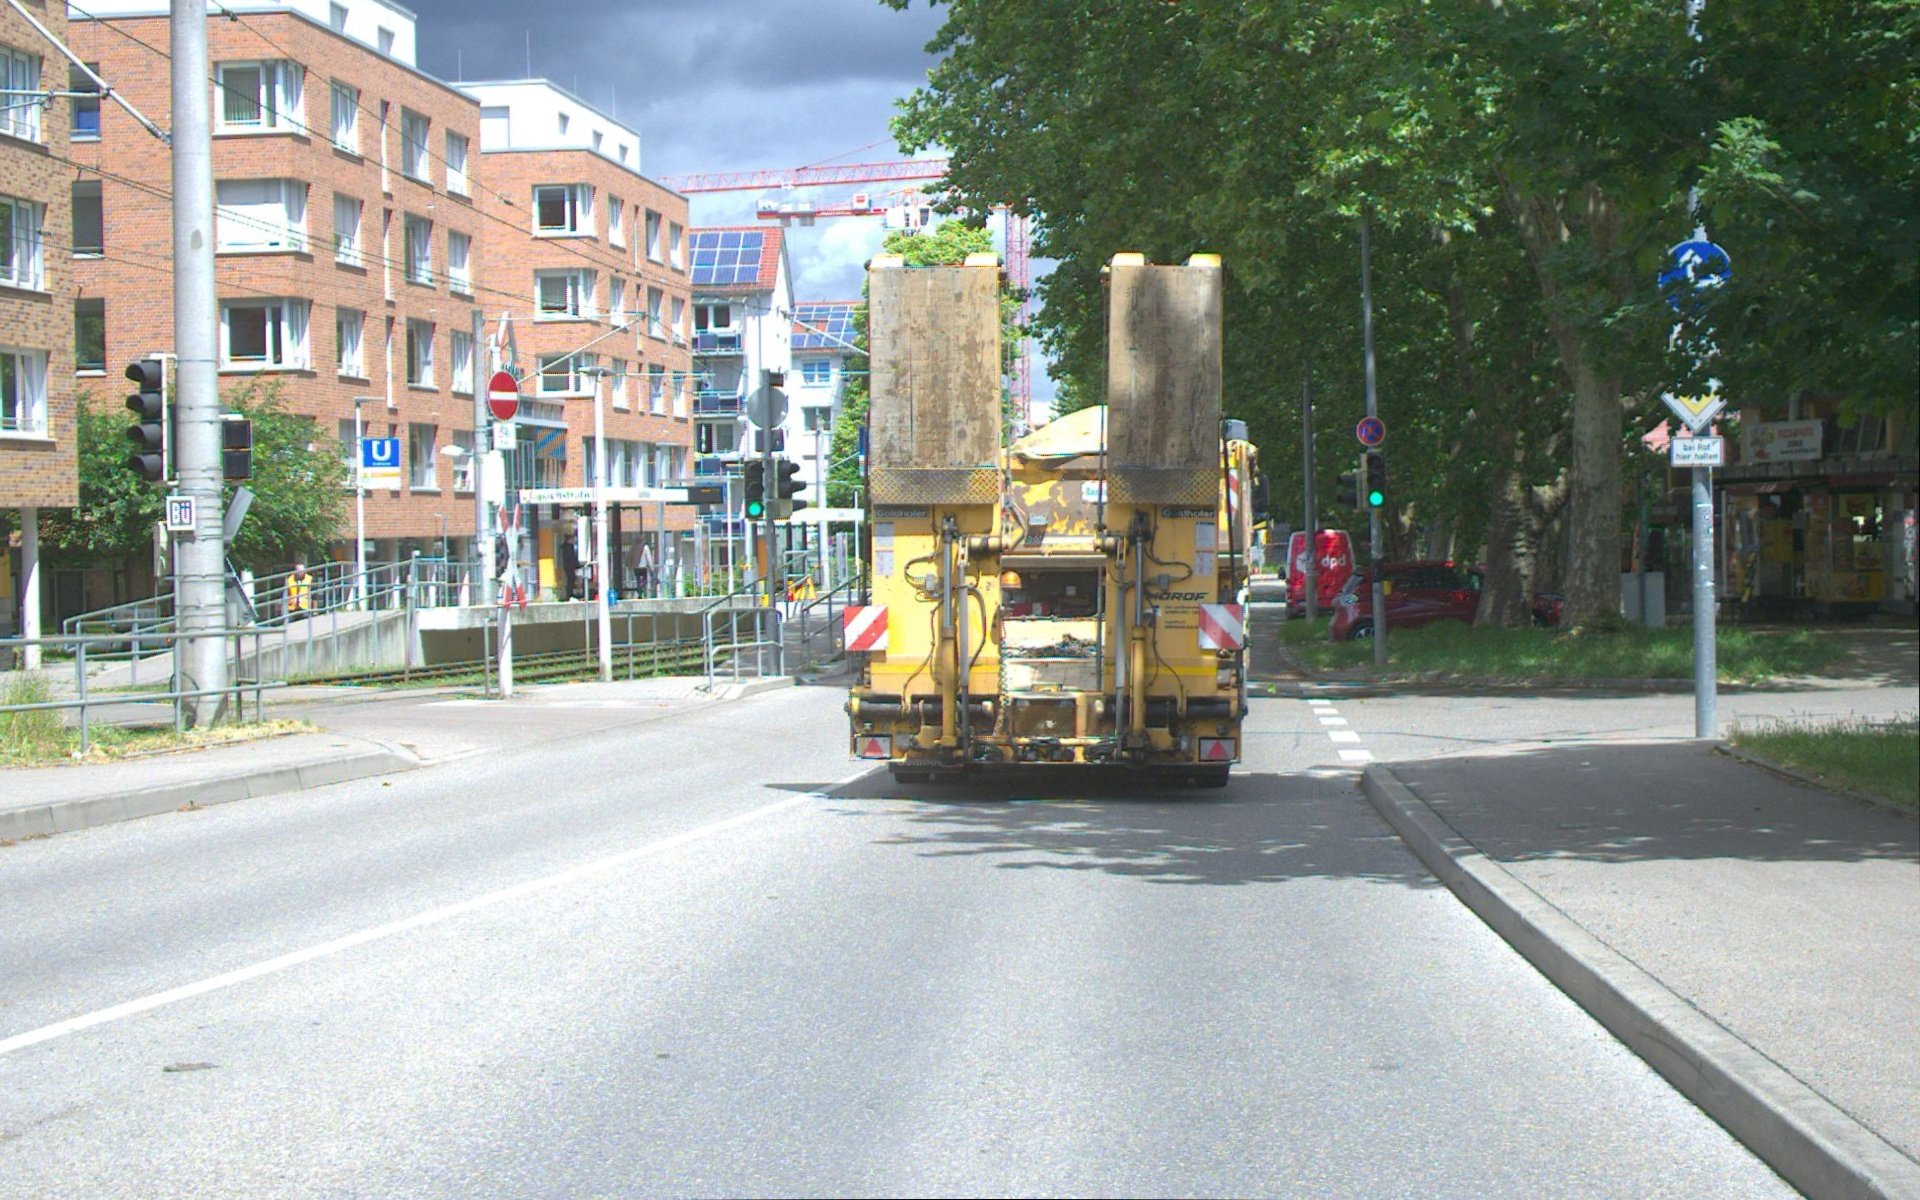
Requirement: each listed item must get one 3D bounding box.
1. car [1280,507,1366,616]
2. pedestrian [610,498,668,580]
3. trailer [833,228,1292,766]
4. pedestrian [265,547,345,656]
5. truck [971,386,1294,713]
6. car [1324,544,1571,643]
[{"bbox_3d":[10.002,-1.105,94.460,1.994,2.818,5.113,3,2,8],"label":"car"},{"bbox_3d":[-7.969,-1.508,85.336,1.137,2.007,0.998,-1,1,12],"label":"pedestrian"},{"bbox_3d":[1.058,-0.679,27.149,2.864,3.361,10.839,-1,0,4],"label":"trailer"},{"bbox_3d":[-12.319,0.016,64.640,1.137,2.007,0.998,-1,1,12],"label":"pedestrian"},{"bbox_3d":[1.936,-0.531,36.782,2.988,3.024,8.485,-1,1,4],"label":"truck"},{"bbox_3d":[8.075,-0.131,57.059,3.988,1.506,2.000,0,4,8],"label":"car"}]
